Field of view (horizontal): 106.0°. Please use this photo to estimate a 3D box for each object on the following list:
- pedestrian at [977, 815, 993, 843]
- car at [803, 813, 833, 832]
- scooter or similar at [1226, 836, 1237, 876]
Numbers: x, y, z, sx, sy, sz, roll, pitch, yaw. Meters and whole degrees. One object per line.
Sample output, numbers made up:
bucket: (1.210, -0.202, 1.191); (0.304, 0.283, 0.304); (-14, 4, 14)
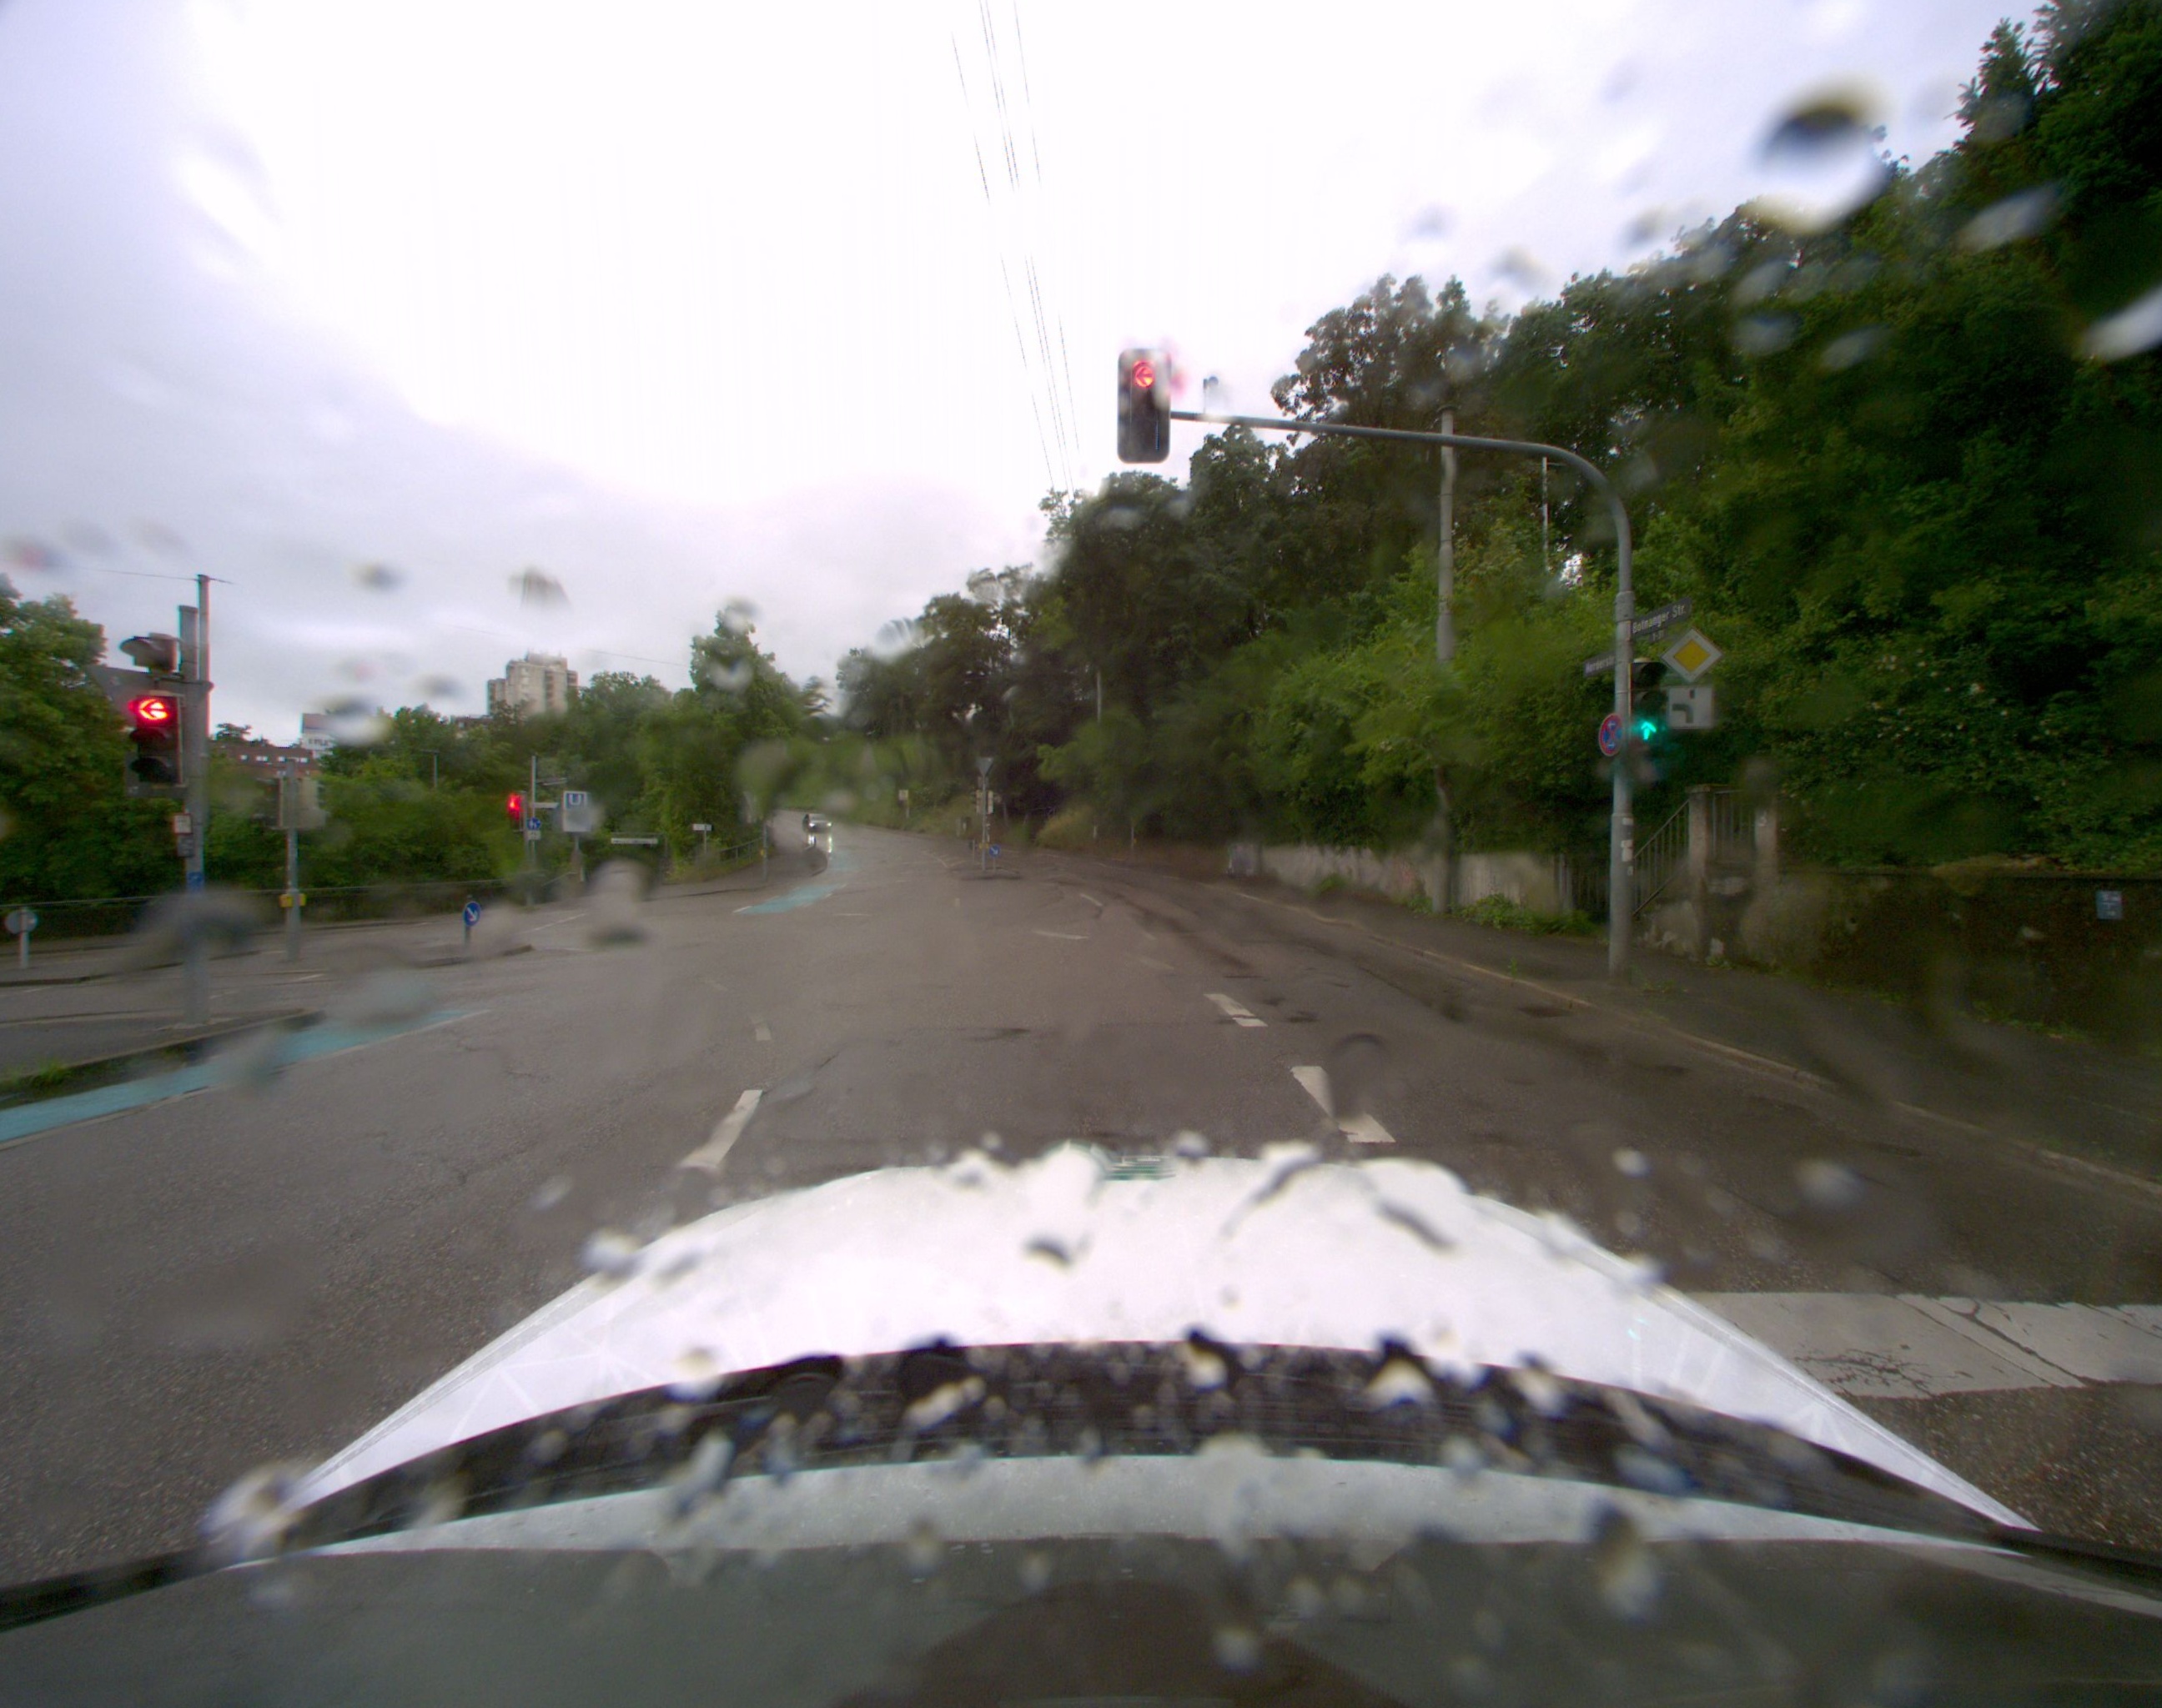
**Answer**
pedestrian: (-6.086, -1.570, 51.484); (0.882, 1.736, 0.861); (0, -1, -15)
car: (-21.534, -2.618, 66.567); (1.964, 1.511, 4.372); (0, 3, -22)
scooter or similar: (4.905, 0.063, 26.507); (0.320, 1.279, 0.754); (-1, 2, 10)
